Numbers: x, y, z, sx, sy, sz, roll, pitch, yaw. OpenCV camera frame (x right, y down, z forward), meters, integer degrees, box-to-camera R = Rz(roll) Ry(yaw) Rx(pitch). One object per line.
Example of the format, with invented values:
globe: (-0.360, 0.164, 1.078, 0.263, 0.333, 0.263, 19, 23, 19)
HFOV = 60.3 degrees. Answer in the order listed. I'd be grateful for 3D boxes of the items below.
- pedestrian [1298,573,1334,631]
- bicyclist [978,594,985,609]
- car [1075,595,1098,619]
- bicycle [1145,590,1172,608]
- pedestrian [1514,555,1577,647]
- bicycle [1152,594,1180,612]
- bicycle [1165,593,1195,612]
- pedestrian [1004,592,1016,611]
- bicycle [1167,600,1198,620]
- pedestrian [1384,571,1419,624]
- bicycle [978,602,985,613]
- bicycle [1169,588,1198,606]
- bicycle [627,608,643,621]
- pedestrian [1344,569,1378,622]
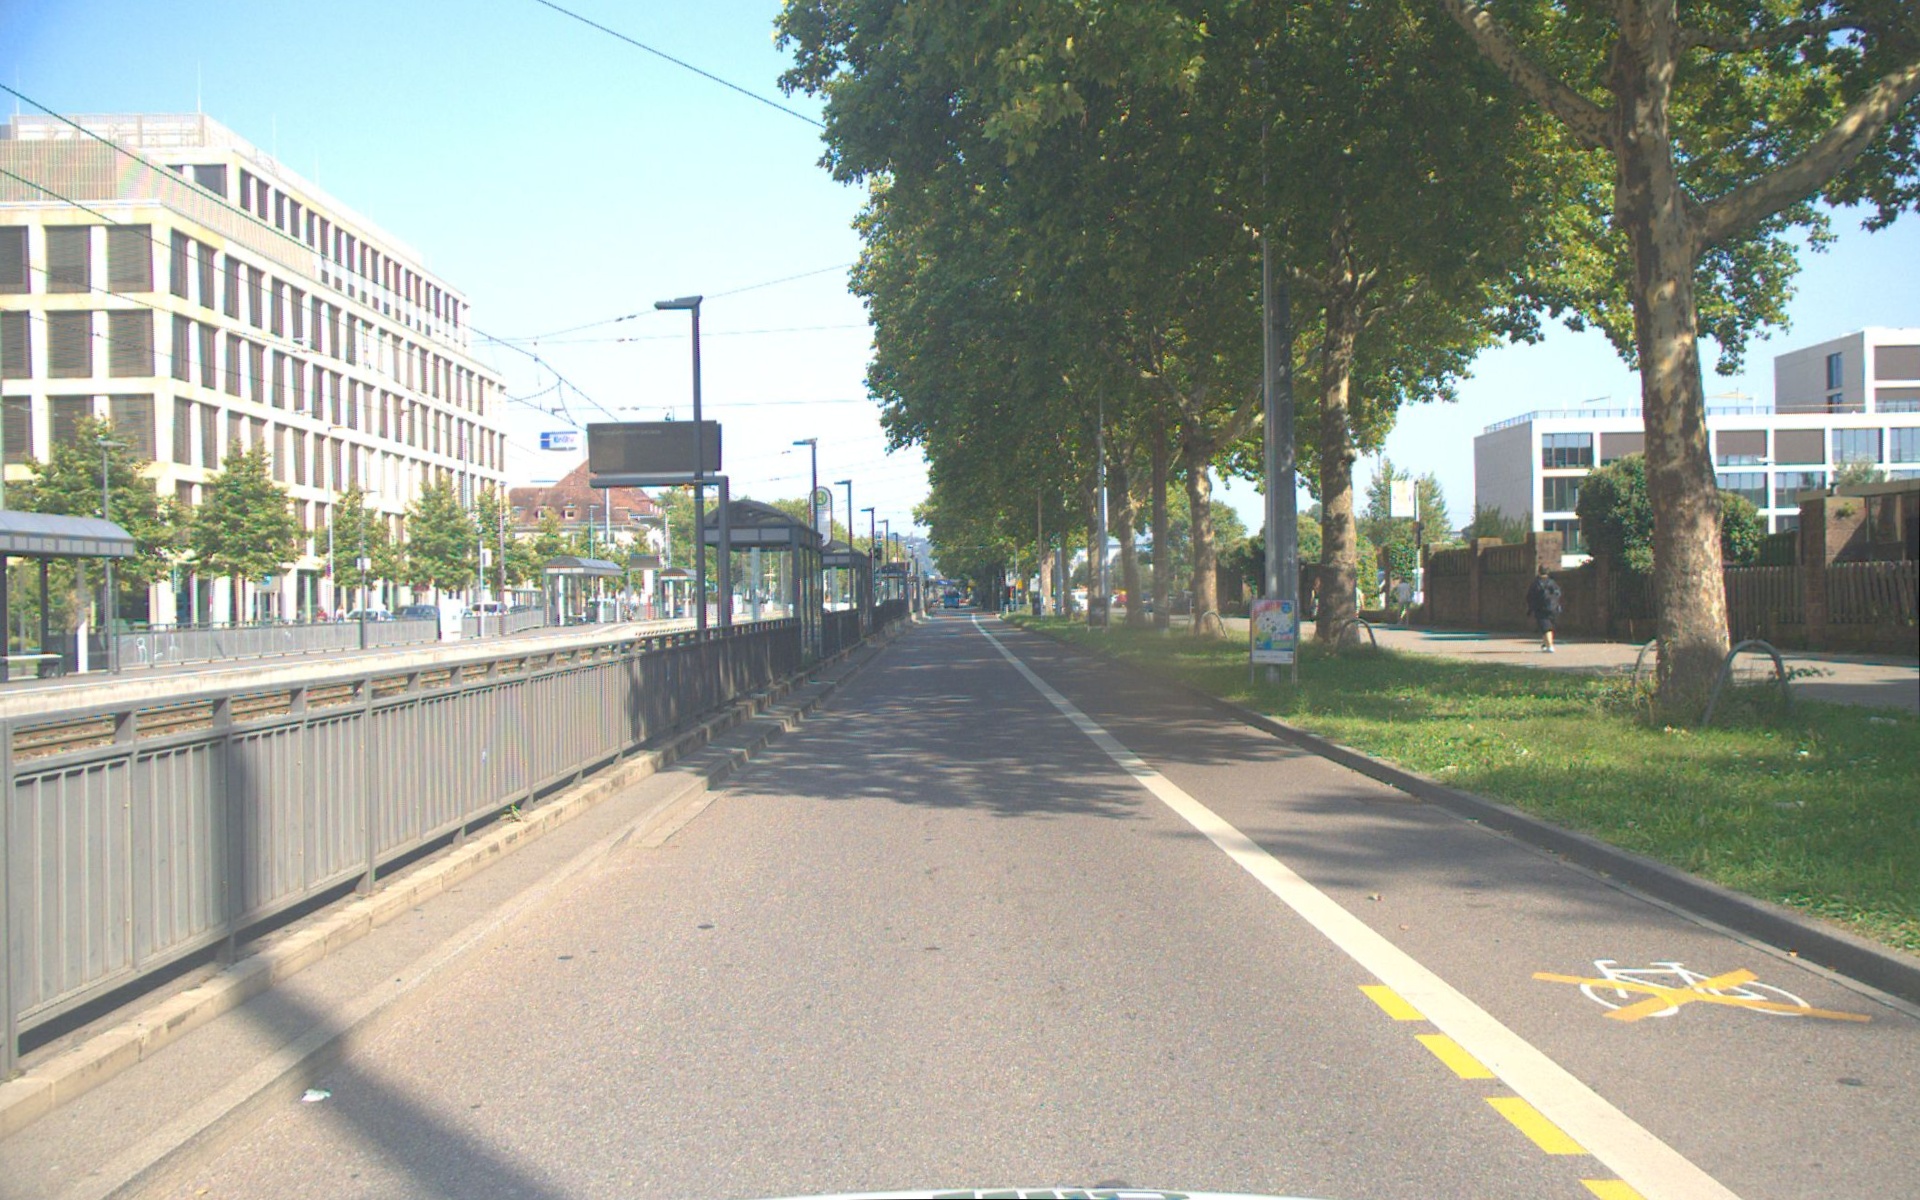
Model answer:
pedestrian: (10.538, 0.069, 48.969, 0.790, 1.664, 0.947, -3, 0, 0)
bicyclist: (2.141, 0.174, 166.735, 0.691, 1.486, 1.009, 0, 0, 0)
car: (11.329, 0.640, 148.283, 1.686, 2.084, 4.461, -1, 0, 0)
bicycle: (11.712, -0.056, 97.830, 0.502, 0.986, 1.636, -3, 0, -41)
pedestrian: (11.281, 0.015, 31.885, 0.802, 1.716, 1.012, -2, 0, 0)
bicycle: (12.012, 0.179, 96.508, 0.502, 0.986, 1.636, -3, 0, -41)
bicycle: (12.504, 0.160, 94.102, 1.621, 0.986, 0.506, -3, 0, 5)
pedestrian: (4.568, 0.145, 151.207, 0.614, 1.645, 0.841, -2, 0, 37)
bicycle: (12.158, 0.523, 90.405, 1.621, 0.986, 0.506, -3, 0, 5)
pedestrian: (14.074, -0.089, 52.720, 0.790, 1.632, 0.947, -3, 0, 0)
bicycle: (2.151, 0.771, 166.647, 0.700, 1.127, 2.509, 0, 0, 0)
bicycle: (13.334, -0.158, 98.552, 1.622, 0.986, 0.506, -3, 0, 2)
bicycle: (-17.497, 0.770, 89.069, 0.467, 0.674, 1.614, -1, 0, 4)
pedestrian: (12.786, -0.142, 52.802, 0.790, 1.632, 0.947, -3, 0, 0)
